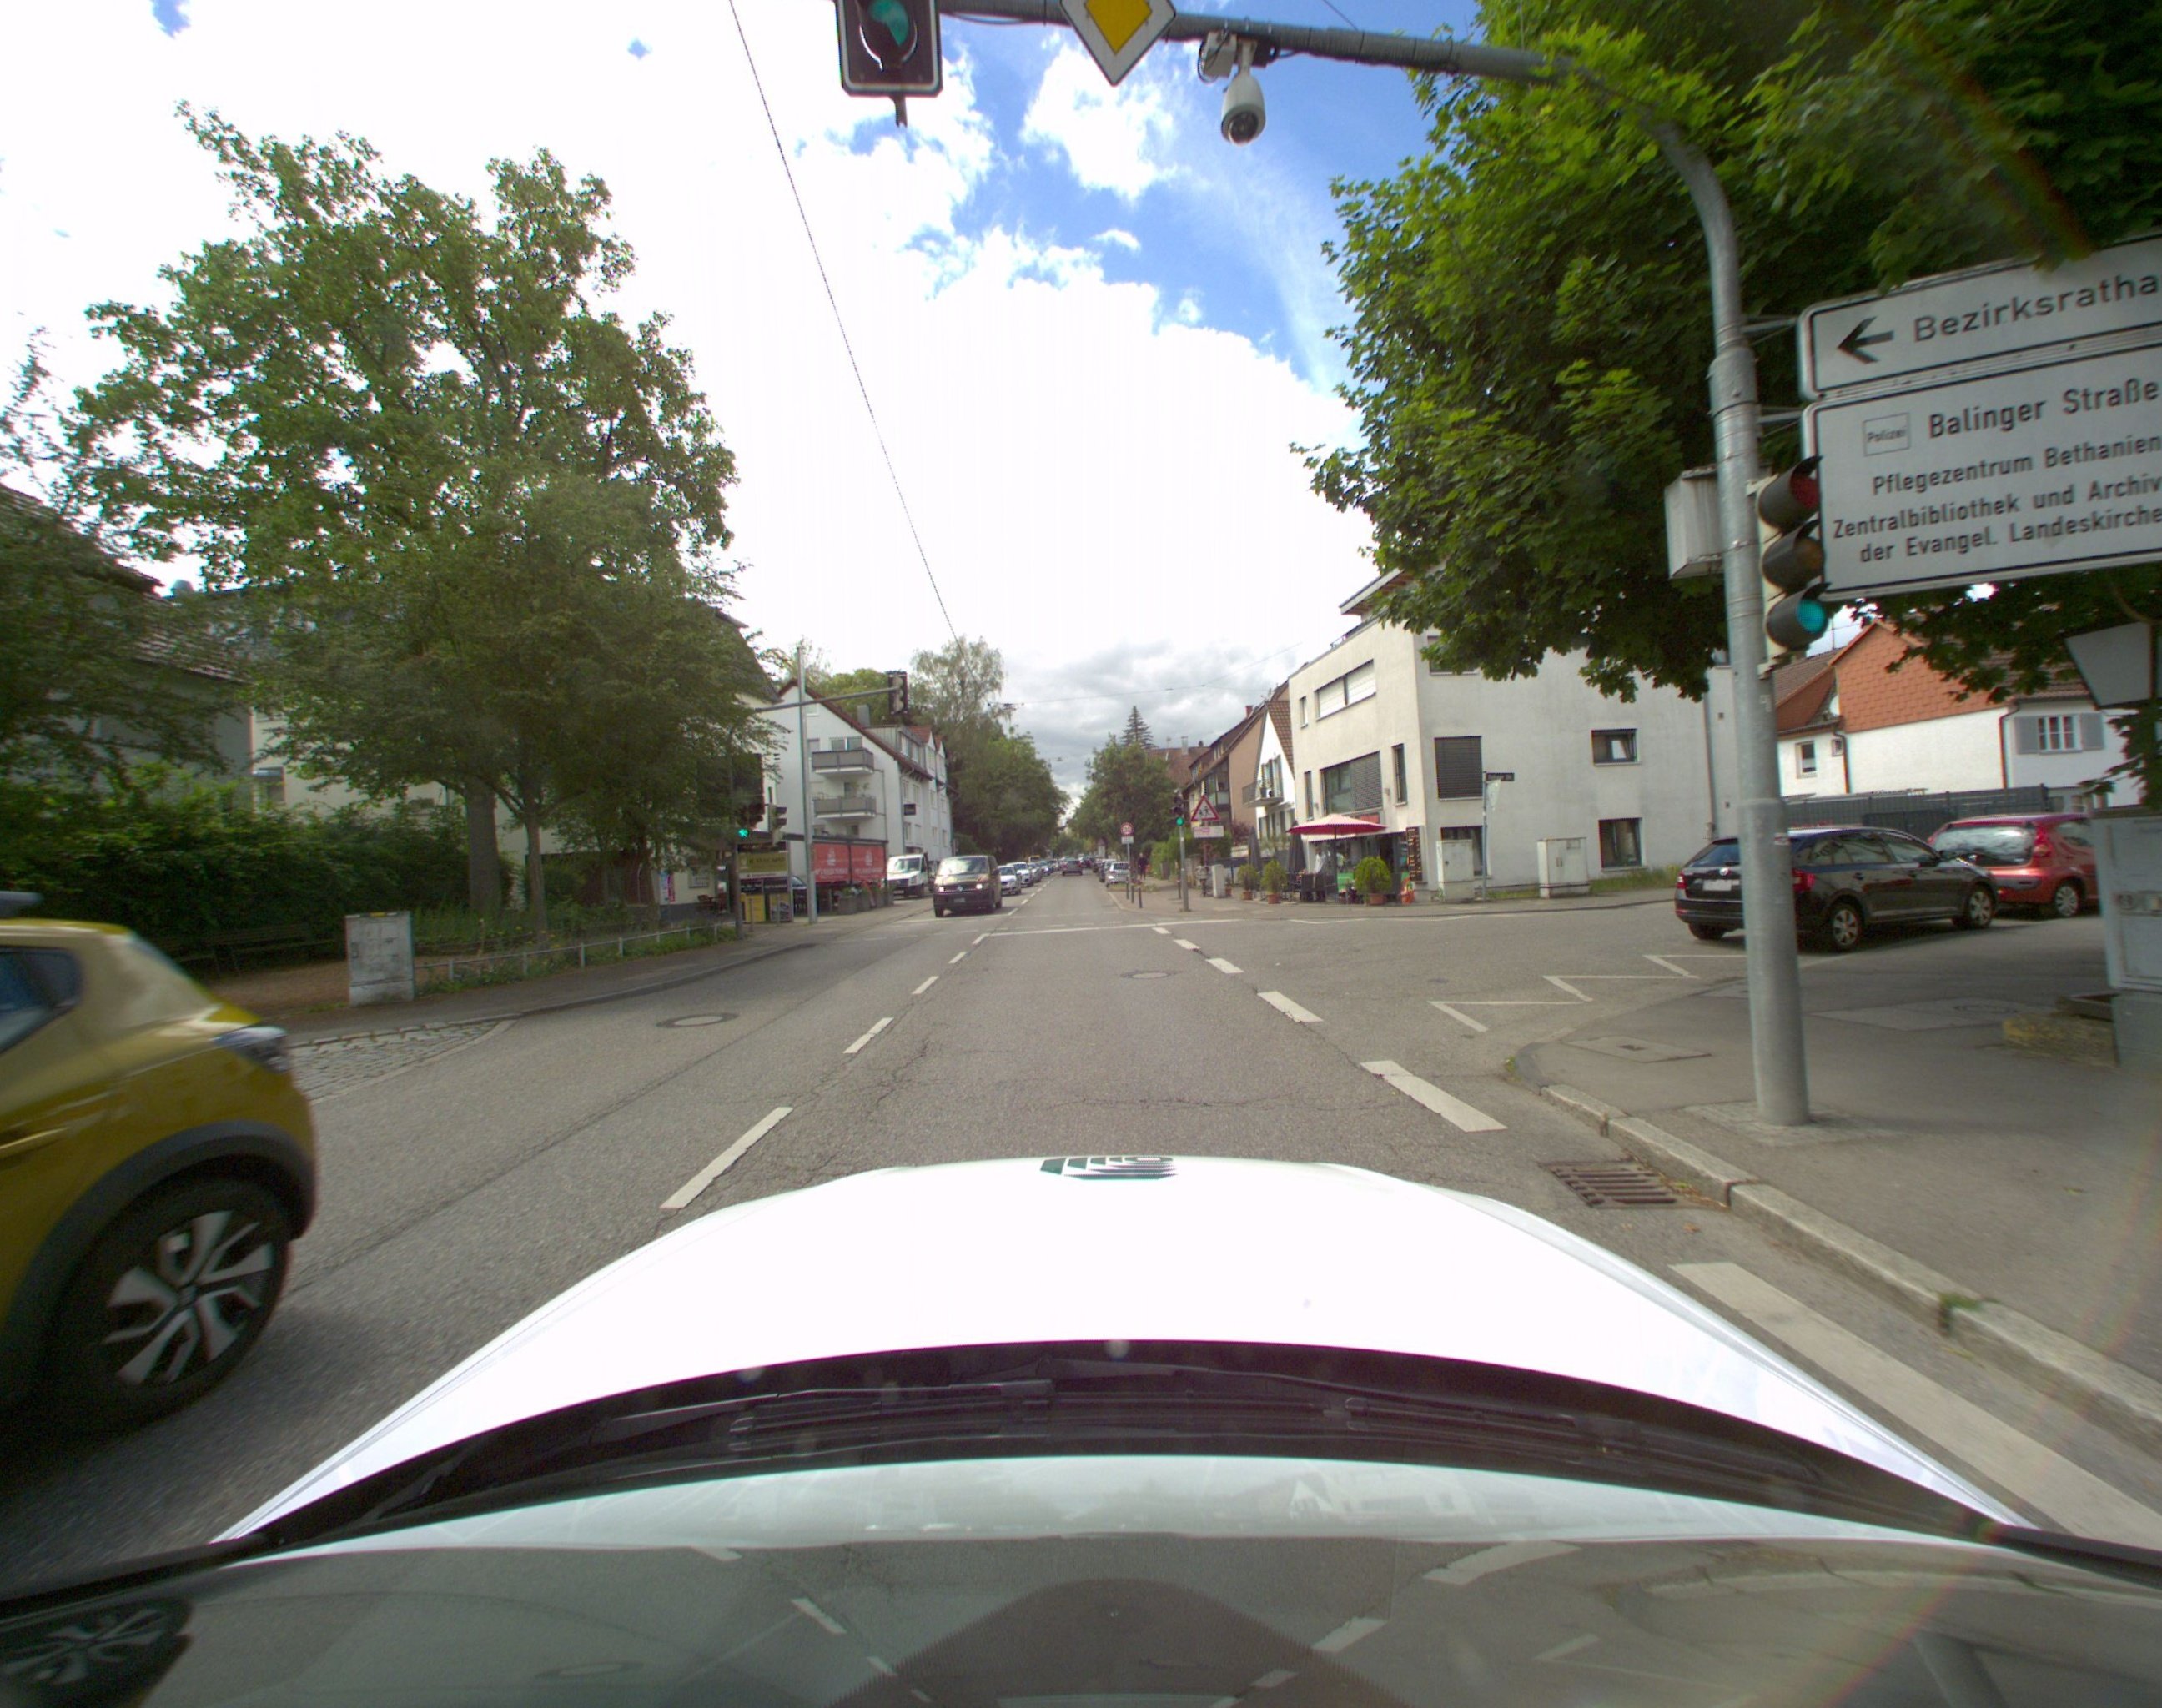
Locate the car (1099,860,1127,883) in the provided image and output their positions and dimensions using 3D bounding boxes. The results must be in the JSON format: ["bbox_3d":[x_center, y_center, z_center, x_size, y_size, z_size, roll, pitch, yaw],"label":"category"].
[{"bbox_3d":[2.134,1.146,55.087,1.728,1.429,4.882,0,0,0],"label":"car"}]

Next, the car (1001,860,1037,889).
[{"bbox_3d":[-3.855,1.252,51.076,1.800,1.571,4.158,-5,0,0],"label":"car"}]

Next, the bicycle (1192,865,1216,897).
[{"bbox_3d":[4.668,1.003,31.034,0.717,1.150,2.216,-3,-1,5],"label":"bicycle"}]

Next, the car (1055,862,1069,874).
[{"bbox_3d":[-2.780,2.110,120.638,1.779,1.591,4.153,-5,0,0],"label":"car"}]

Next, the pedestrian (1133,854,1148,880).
[{"bbox_3d":[3.944,0.864,54.265,0.877,1.712,0.842,-3,-1,1],"label":"pedestrian"}]

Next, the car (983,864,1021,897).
[{"bbox_3d":[-3.839,1.266,40.167,1.613,1.486,3.809,-3,0,-3],"label":"car"}]

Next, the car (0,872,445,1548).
[{"bbox_3d":[-3.394,0.887,1.223,1.723,1.538,3.998,-3,0,-1],"label":"car"}]

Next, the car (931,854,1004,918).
[{"bbox_3d":[-3.726,1.003,27.536,1.872,1.912,4.747,-3,0,-2],"label":"car"}]

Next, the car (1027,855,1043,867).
[{"bbox_3d":[-7.836,1.218,139.883,2.137,1.981,4.933,-3,-1,2],"label":"car"}]

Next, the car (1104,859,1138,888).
[{"bbox_3d":[2.225,1.081,46.569,1.695,1.480,4.871,-2,0,0],"label":"car"}]

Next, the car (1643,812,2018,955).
[{"bbox_3d":[9.878,0.307,10.782,4.182,1.415,1.769,-4,1,-17],"label":"car"}]

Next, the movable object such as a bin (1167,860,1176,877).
[{"bbox_3d":[5.750,0.941,51.942,0.520,1.080,0.605,-3,-1,5],"label":"movable object such as a bin"}]

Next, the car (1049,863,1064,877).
[{"bbox_3d":[-3.274,2.083,109.049,1.780,1.648,4.490,-5,0,0],"label":"car"}]

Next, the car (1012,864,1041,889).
[{"bbox_3d":[-3.955,1.613,59.569,1.723,1.502,4.374,-5,0,-1],"label":"car"}]

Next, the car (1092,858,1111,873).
[{"bbox_3d":[2.115,1.162,85.265,1.796,1.445,4.884,-1,0,-1],"label":"car"}]

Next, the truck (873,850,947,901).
[{"bbox_3d":[-8.979,1.108,43.460,2.215,2.380,6.329,-3,-1,2],"label":"truck"}]

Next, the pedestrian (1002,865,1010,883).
[{"bbox_3d":[-6.941,1.824,74.964,0.652,1.667,0.930,-3,-1,-6],"label":"pedestrian"}]

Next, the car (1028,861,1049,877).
[{"bbox_3d":[-4.206,1.468,80.847,1.754,1.439,3.969,-5,0,0],"label":"car"}]

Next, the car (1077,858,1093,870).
[{"bbox_3d":[0.575,1.400,112.027,1.807,1.501,4.273,-2,0,5],"label":"car"}]

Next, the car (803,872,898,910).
[{"bbox_3d":[-10.142,1.602,36.067,3.686,1.425,1.802,-3,0,-5],"label":"car"}]

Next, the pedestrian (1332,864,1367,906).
[{"bbox_3d":[7.315,0.840,22.204,0.569,1.089,0.629,-2,-1,-26],"label":"pedestrian"}]

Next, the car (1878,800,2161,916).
[{"bbox_3d":[14.329,0.043,12.334,3.419,1.486,1.644,-3,-1,-14],"label":"car"}]

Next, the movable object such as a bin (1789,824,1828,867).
[{"bbox_3d":[19.881,-0.234,22.250,0.526,1.128,0.526,-3,-1,-8],"label":"movable object such as a bin"}]

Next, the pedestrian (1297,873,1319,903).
[{"bbox_3d":[7.420,1.106,26.638,0.420,0.938,0.494,-2,-1,-21],"label":"pedestrian"}]

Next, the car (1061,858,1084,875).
[{"bbox_3d":[-0.767,1.150,75.356,1.969,1.513,4.267,0,0,0],"label":"car"}]

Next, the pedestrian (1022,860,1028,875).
[{"bbox_3d":[-6.859,1.649,99.756,0.713,1.762,1.120,-3,-1,-5],"label":"pedestrian"}]

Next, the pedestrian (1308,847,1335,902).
[{"bbox_3d":[7.859,0.673,26.652,0.429,1.762,0.671,-2,-1,-21],"label":"pedestrian"}]

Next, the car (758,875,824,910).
[{"bbox_3d":[-13.583,1.794,38.075,2.811,1.470,1.576,-5,-2,38],"label":"car"}]

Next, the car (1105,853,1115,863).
[{"bbox_3d":[6.599,0.963,185.266,1.986,2.014,4.001,-3,-1,2],"label":"car"}]

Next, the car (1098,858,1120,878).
[{"bbox_3d":[2.261,1.090,66.395,1.617,1.507,3.778,-3,0,0],"label":"car"}]
